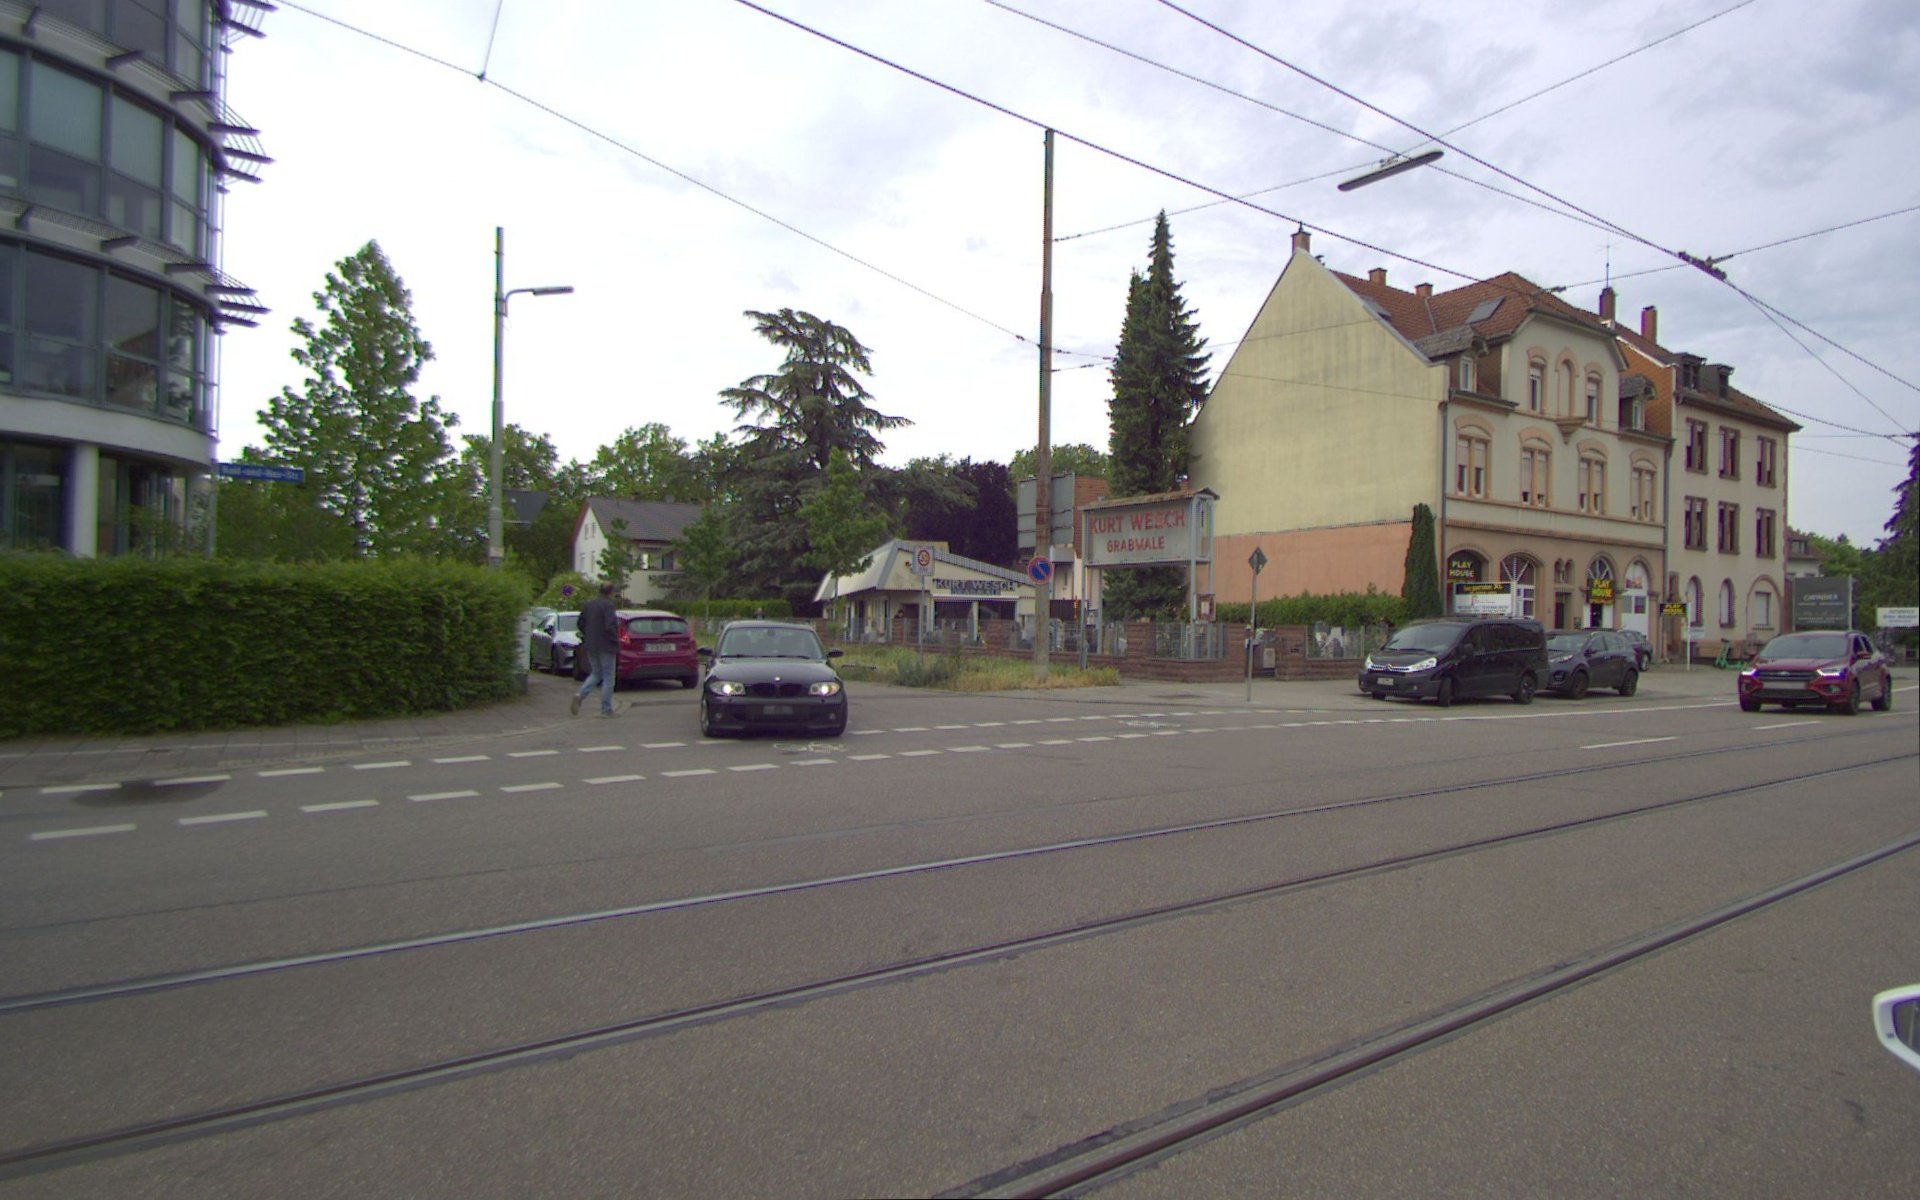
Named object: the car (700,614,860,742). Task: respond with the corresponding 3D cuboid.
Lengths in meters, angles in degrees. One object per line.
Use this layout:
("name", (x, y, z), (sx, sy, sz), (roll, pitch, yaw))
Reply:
("car", (-2.555, 0.936, 13.487), (1.758, 1.387, 4.100), (2, -1, -15))

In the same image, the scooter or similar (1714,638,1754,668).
("scooter or similar", (30.794, 2.101, 39.971), (1.157, 1.116, 0.527), (2, 0, 30))

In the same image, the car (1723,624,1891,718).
("car", (17.842, 1.430, 21.093), (4.368, 1.747, 1.828), (2, -2, -38))

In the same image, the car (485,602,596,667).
("car", (-11.842, 0.933, 28.235), (1.981, 1.673, 3.959), (2, -1, -36))

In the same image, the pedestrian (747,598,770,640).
("pedestrian", (-8.671, 0.816, 43.207), (0.752, 1.797, 0.631), (2, 0, -28))

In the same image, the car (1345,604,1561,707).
("car", (11.161, 1.204, 22.631), (5.129, 2.040, 1.975), (2, 0, -33))

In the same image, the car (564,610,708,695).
("car", (-6.435, 0.939, 19.662), (1.707, 1.441, 3.983), (-1, 0, -33))

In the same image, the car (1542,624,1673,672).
("car", (22.692, 1.677, 35.136), (4.848, 1.512, 1.983), (2, -1, -32))

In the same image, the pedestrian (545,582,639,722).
("pedestrian", (-5.073, 0.700, 13.840), (1.047, 1.849, 0.800), (2, 0, -30))

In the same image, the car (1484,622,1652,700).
("car", (15.870, 1.522, 26.158), (4.488, 1.773, 2.024), (1, 1, -34))

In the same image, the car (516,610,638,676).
("car", (-9.051, 0.963, 23.557), (1.761, 1.367, 4.009), (2, -1, -35))
